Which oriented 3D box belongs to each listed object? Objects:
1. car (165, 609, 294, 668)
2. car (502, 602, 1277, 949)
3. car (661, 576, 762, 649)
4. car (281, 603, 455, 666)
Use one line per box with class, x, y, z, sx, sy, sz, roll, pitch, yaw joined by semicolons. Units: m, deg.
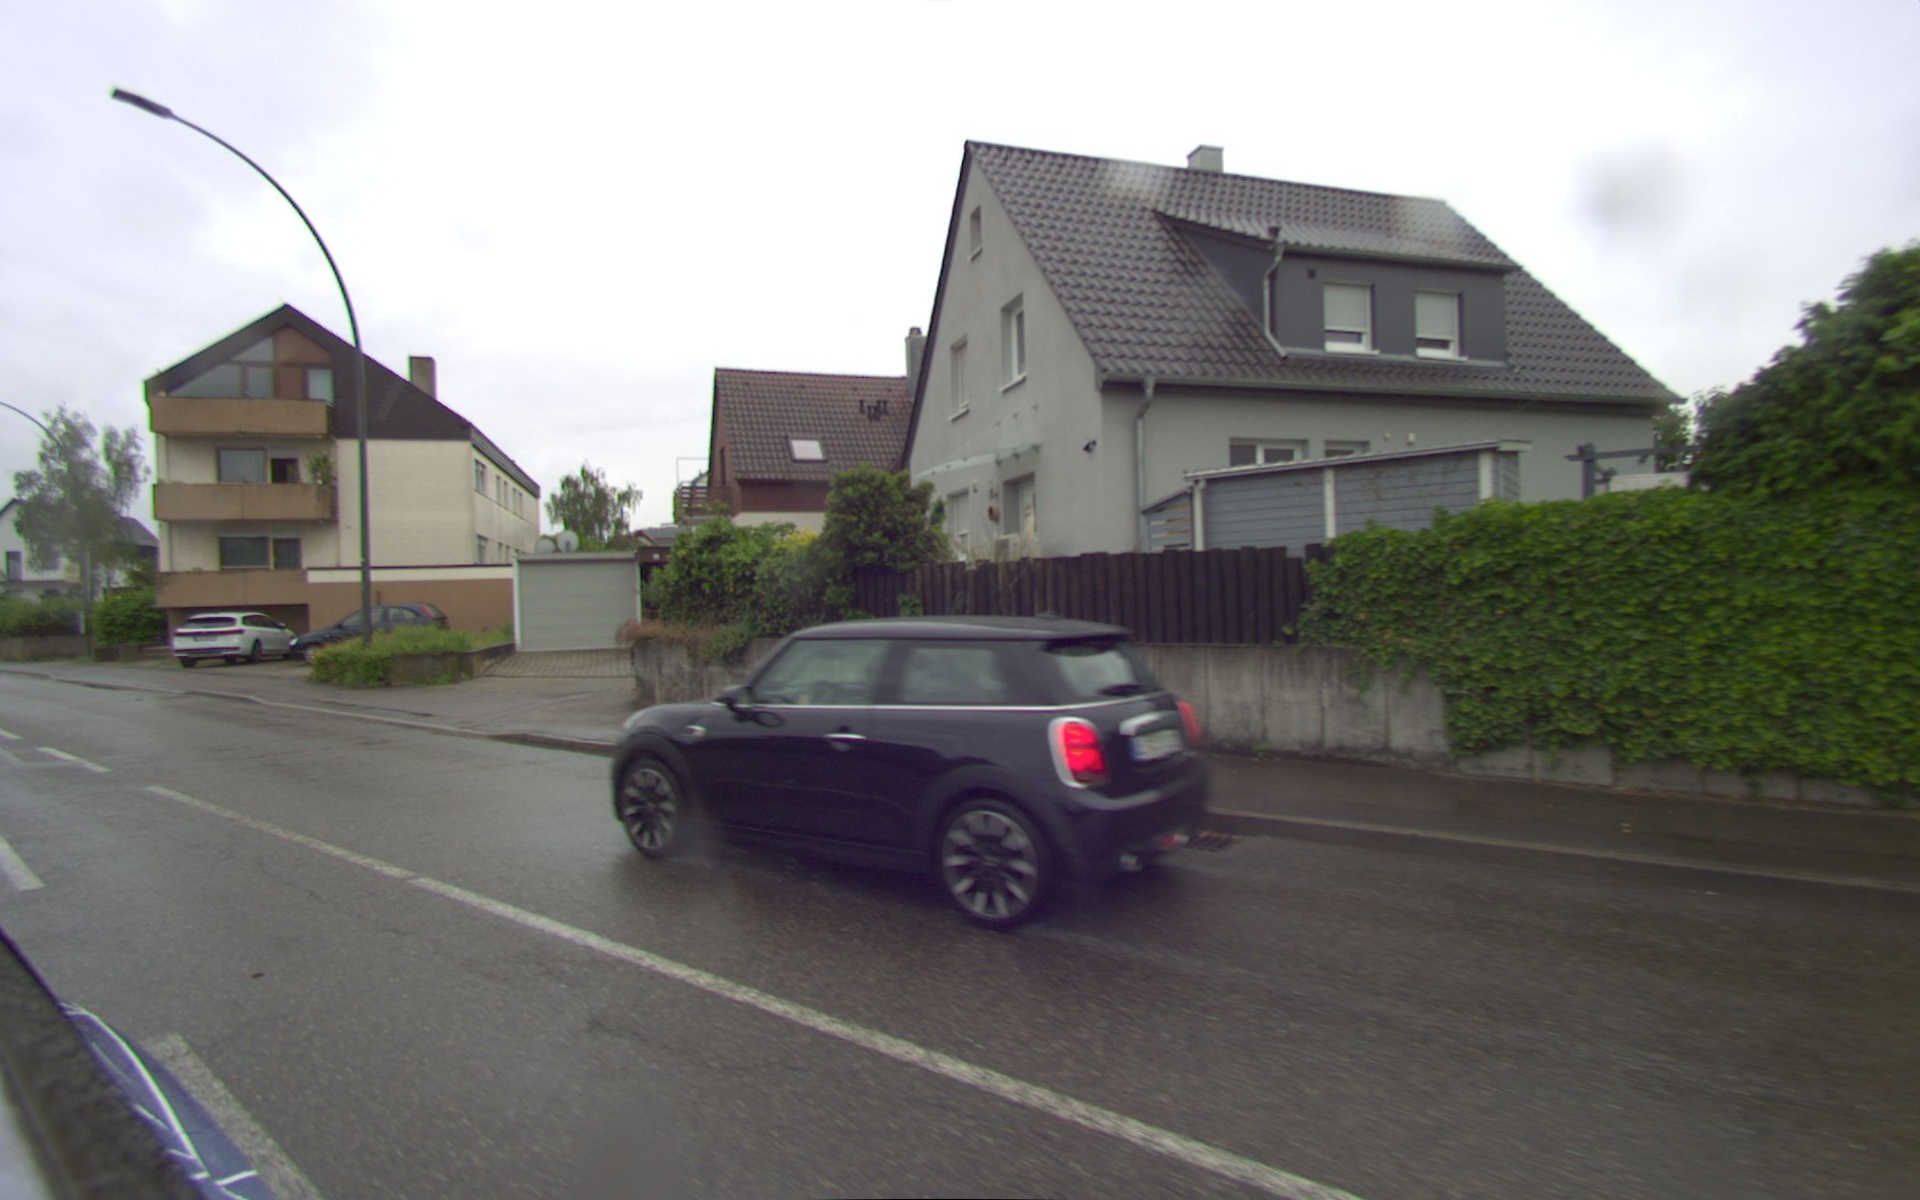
car;-20.971;1.047;29.246;1.837;1.530;4.012;-1;0;-17
car;-0.638;0.739;6.293;4.613;1.415;1.976;-1;0;35
car;-6.553;0.247;26.440;1.808;1.686;3.876;-1;2;-25
car;-15.481;0.866;26.670;3.609;1.530;1.759;-1;0;-15
